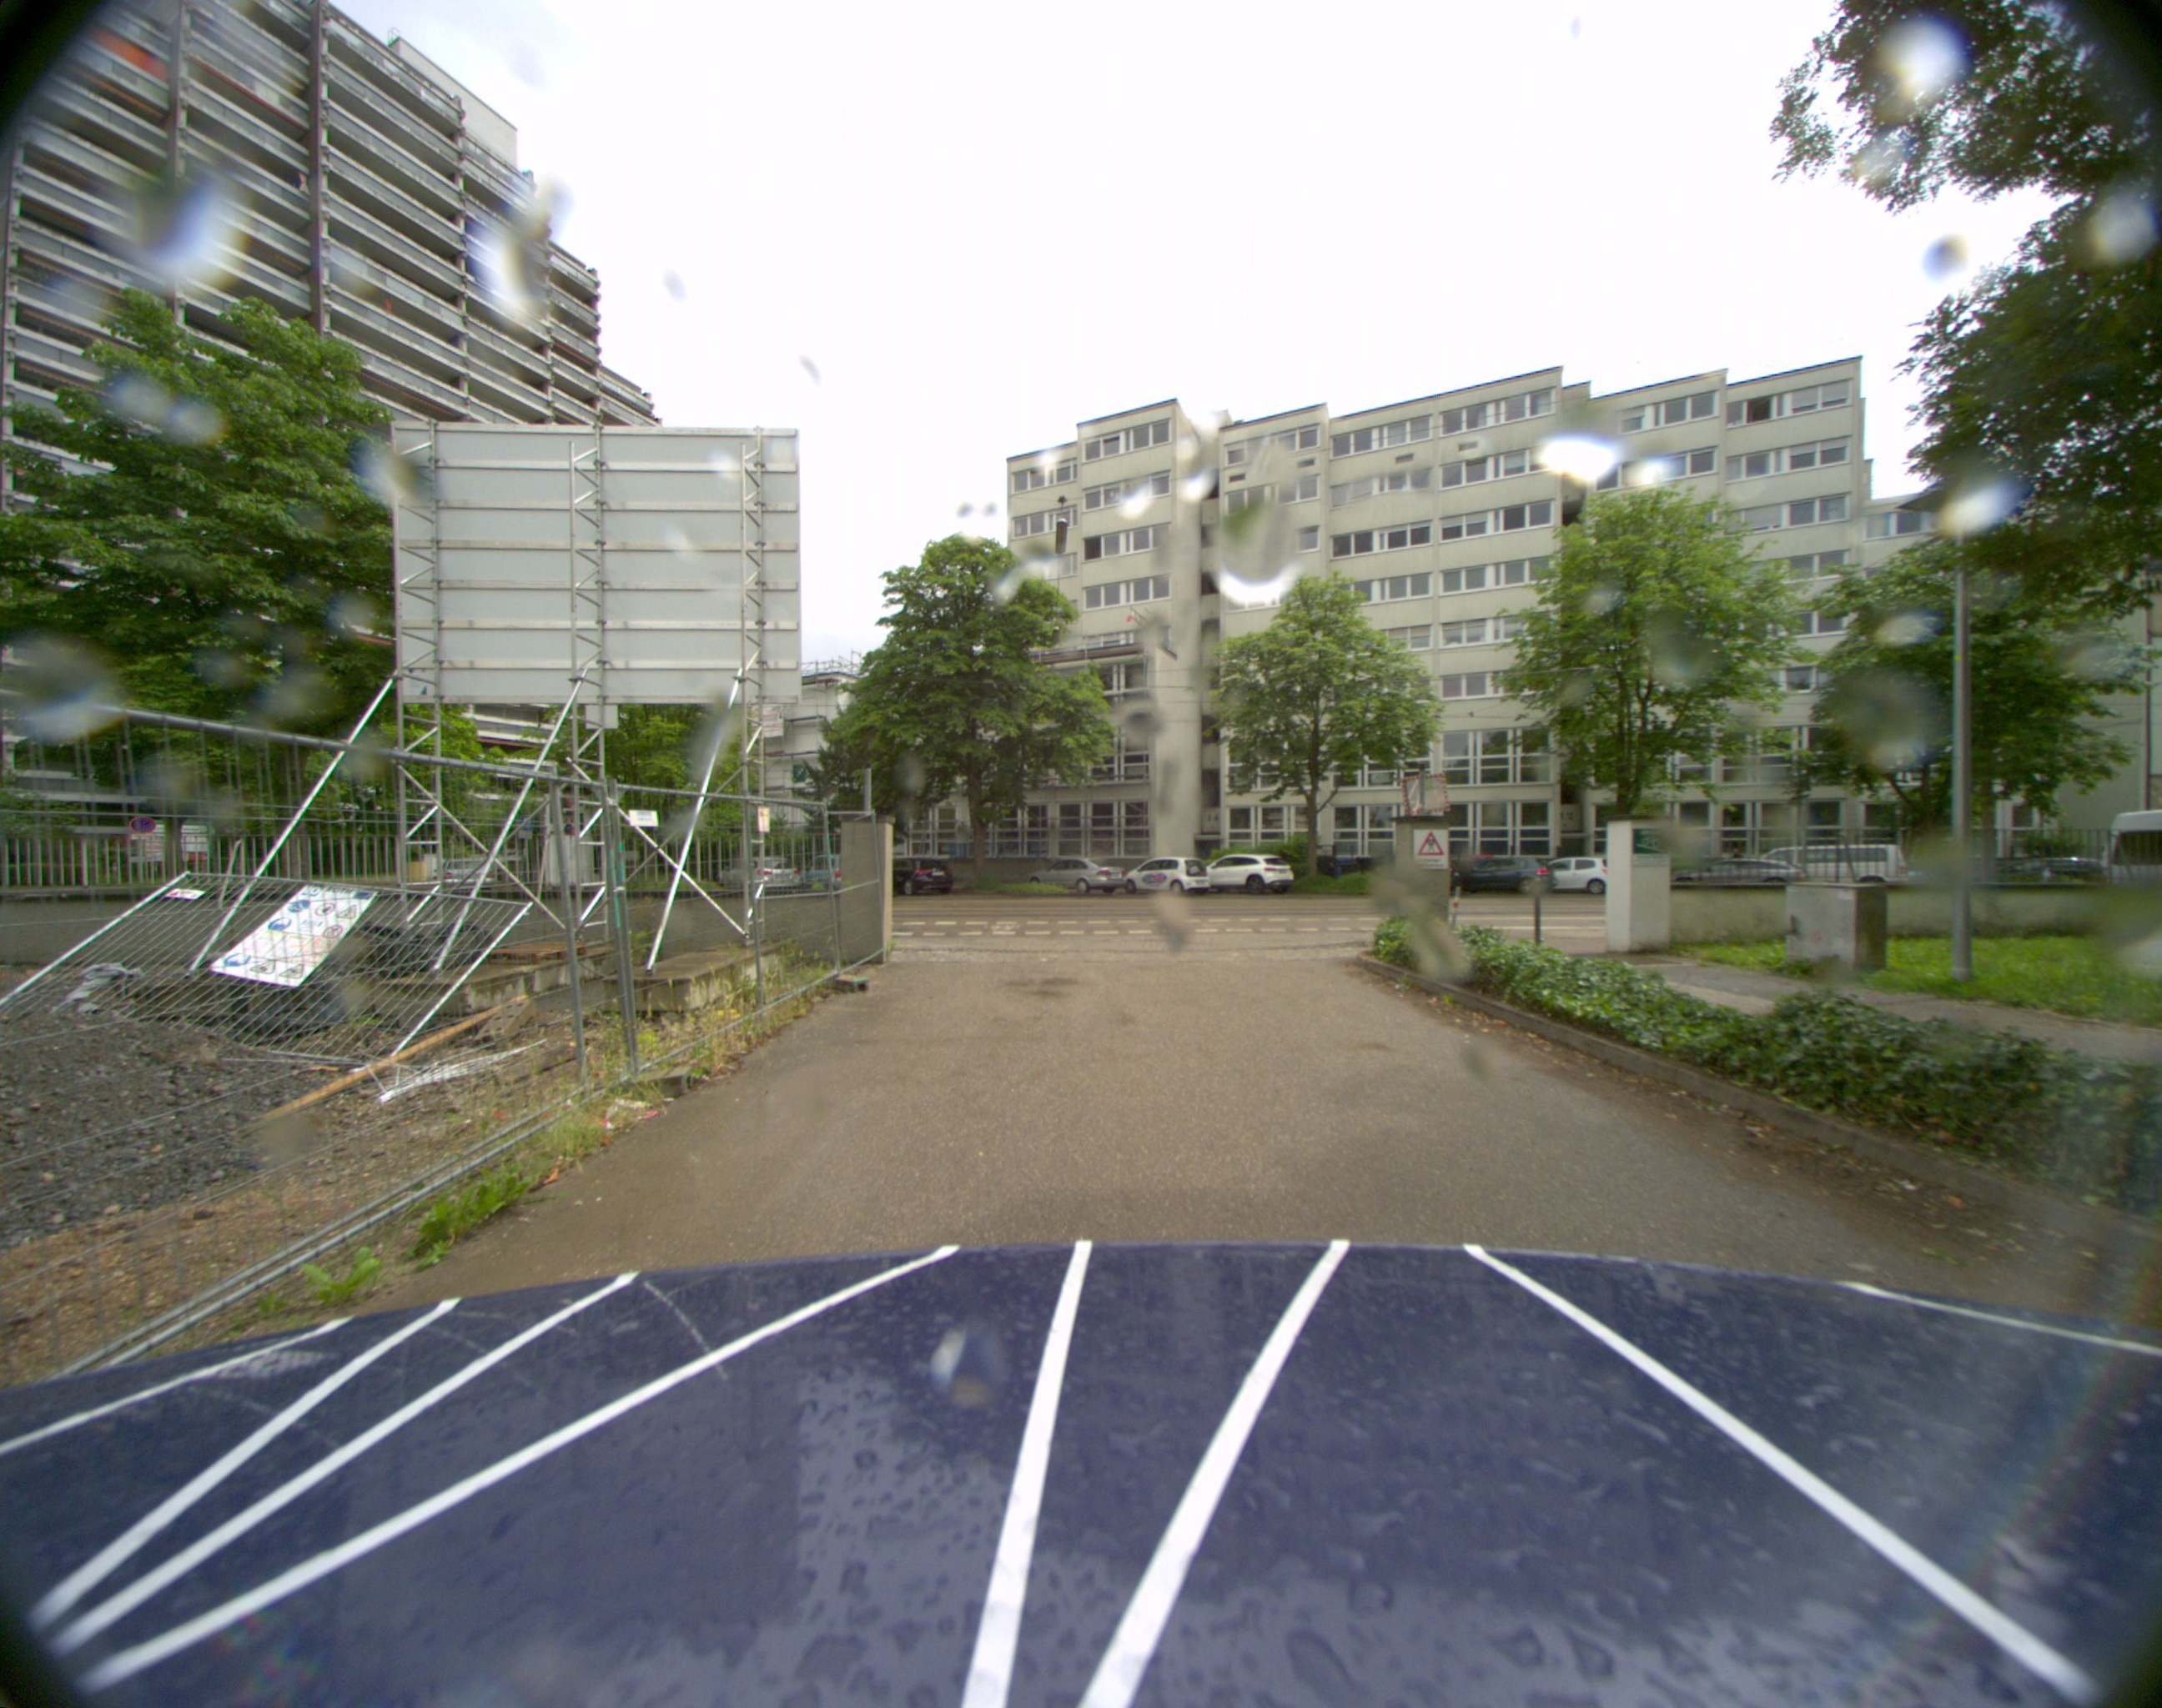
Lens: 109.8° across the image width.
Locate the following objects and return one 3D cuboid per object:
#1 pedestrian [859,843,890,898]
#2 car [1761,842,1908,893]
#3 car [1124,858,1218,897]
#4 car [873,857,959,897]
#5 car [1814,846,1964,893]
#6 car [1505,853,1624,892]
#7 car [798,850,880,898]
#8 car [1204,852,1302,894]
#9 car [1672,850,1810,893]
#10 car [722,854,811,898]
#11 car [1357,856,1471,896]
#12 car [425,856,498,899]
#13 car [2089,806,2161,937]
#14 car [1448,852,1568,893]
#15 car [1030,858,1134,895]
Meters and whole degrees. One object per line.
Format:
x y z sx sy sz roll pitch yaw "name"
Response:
-7.617 0.592 28.031 0.859 2.002 0.931 0 1 2 "pedestrian"
30.205 0.520 30.579 1.794 1.921 4.072 1 0 -44 "car"
3.506 0.897 29.847 1.658 1.436 3.380 1 -1 -45 "car"
-6.419 0.835 29.432 1.626 1.419 3.637 -1 1 -43 "car"
32.877 0.595 31.068 1.794 1.796 4.072 1 0 -44 "car"
19.679 0.720 31.000 1.794 1.497 3.769 1 0 -44 "car"
-9.461 0.707 29.524 1.626 1.736 3.637 -1 1 -43 "car"
6.792 0.737 30.195 1.711 1.593 3.380 1 -1 -45 "car"
26.669 0.675 30.900 4.072 1.640 1.794 1 0 35 "car"
-12.163 0.793 29.266 1.863 1.477 3.988 -3 2 -43 "car"
13.352 0.841 30.579 1.794 1.497 3.769 1 0 -44 "car"
-23.989 0.852 29.354 1.863 1.477 3.988 -3 2 -43 "car"
23.605 0.378 14.885 5.078 2.566 2.094 1 0 -2 "car"
16.877 0.714 30.159 1.794 1.497 3.769 1 0 -44 "car"
-0.003 0.872 30.334 3.988 1.406 1.727 0 -1 41 "car"
